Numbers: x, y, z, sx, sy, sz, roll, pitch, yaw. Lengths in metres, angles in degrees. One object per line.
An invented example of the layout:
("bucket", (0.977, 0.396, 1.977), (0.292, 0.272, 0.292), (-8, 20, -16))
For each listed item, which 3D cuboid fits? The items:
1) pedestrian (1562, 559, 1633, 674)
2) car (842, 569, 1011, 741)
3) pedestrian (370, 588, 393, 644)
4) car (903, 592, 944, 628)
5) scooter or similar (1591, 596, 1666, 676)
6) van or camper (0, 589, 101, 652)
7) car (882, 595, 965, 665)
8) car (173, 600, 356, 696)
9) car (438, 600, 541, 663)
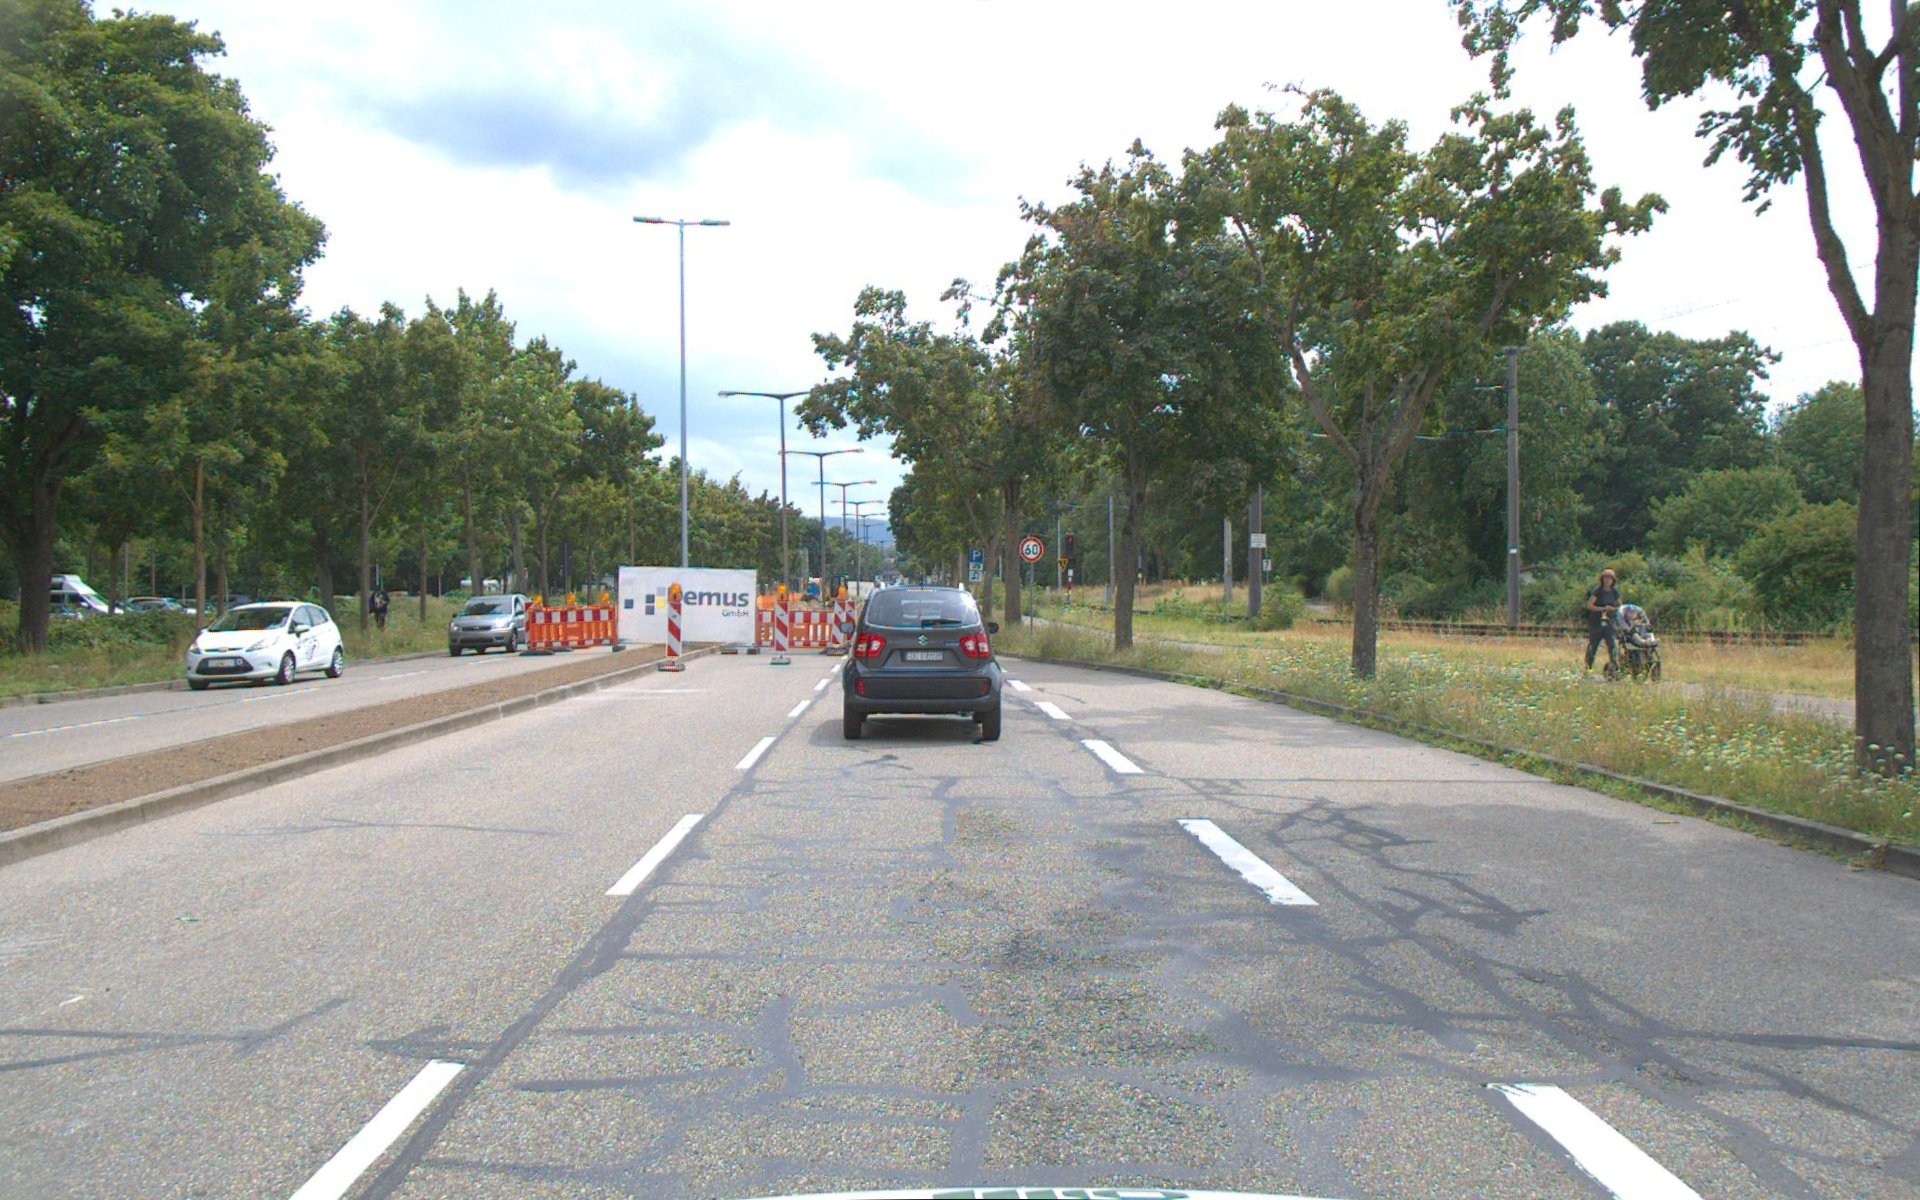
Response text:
("pedestrian", (9.838, 0.244, 25.543), (0.677, 1.725, 0.933), (0, 1, -6))
("car", (-0.418, 0.526, 18.427), (1.669, 1.697, 3.998), (0, 0, -3))
("pedestrian", (-19.338, 0.527, 55.312), (0.681, 1.870, 0.647), (-1, 1, -23))
("car", (-1.756, 0.456, 78.499), (1.758, 1.589, 3.998), (0, 1, -3))
("scooter or similar", (9.941, 0.530, 24.618), (0.668, 1.149, 0.933), (0, 1, -6))
("van or camper", (-41.776, 0.901, 75.706), (3.906, 2.804, 1.926), (0, 1, -2))
("car", (-0.899, 0.663, 38.748), (1.732, 1.489, 3.997), (0, 1, -4))
("car", (-12.394, 0.806, 29.726), (1.656, 1.502, 3.999), (-2, 1, -2))
("car", (-12.557, 0.809, 44.376), (1.669, 1.502, 3.999), (-2, 1, -2))
